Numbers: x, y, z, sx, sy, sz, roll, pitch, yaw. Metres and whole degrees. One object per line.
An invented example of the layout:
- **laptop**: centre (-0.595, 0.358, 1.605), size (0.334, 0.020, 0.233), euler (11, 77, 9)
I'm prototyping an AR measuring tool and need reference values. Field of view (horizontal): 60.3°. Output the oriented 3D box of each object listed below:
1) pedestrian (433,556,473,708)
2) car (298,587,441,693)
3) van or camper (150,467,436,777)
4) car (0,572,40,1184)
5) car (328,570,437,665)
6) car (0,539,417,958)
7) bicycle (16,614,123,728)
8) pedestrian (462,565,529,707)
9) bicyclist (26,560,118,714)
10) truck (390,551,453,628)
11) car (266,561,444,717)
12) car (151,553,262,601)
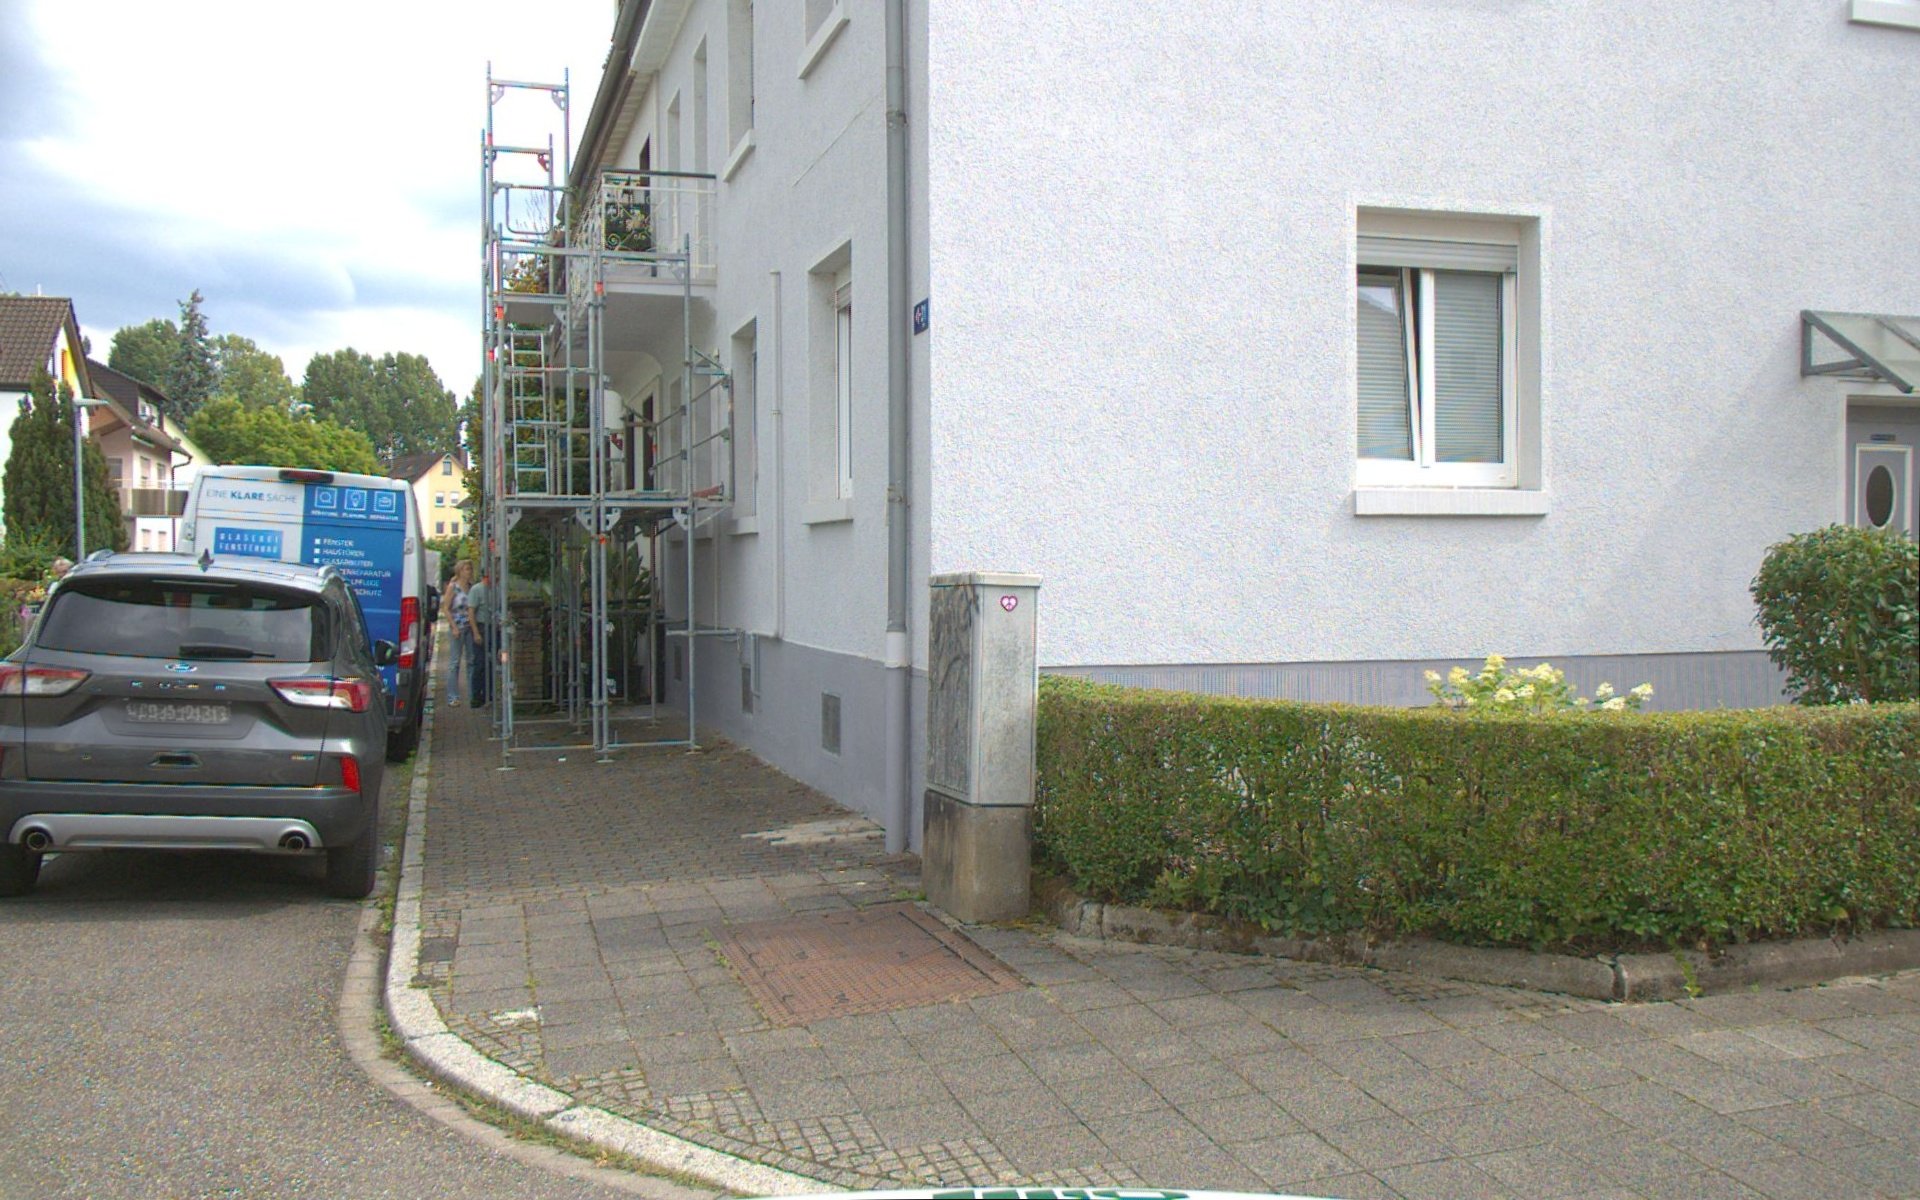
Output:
- **pedestrian**: centre (-6.111, 0.382, 19.934), size (0.402, 1.793, 0.510), euler (-1, -1, -21)
- **car**: centre (-9.451, 0.559, 26.518), size (1.964, 1.481, 4.317), euler (-1, 1, -20)
- **van or camper**: centre (-6.248, 0.119, 16.081), size (2.158, 2.502, 5.029), euler (-1, 1, -18)
- **car**: centre (-2.944, 0.699, 2.295), size (1.784, 1.546, 4.031), euler (0, 0, -12)
- **car**: centre (-11.842, 0.299, 33.917), size (1.964, 1.780, 4.317), euler (-1, 1, -20)
- **car**: centre (-4.134, 0.585, 9.240), size (1.964, 1.757, 4.317), euler (-1, 1, -20)
- **bicycle**: centre (-10.154, 0.783, 18.919), size (0.694, 1.172, 1.864), euler (-2, 1, -17)
- **pedestrian**: centre (-5.551, 0.428, 19.799), size (0.588, 1.658, 0.625), euler (-1, 0, 1)
- **bicyclist**: centre (-10.177, 0.406, 18.980), size (0.685, 1.695, 0.971), euler (-2, 1, -17)
- **truck**: centre (-19.728, -0.415, 60.475), size (2.098, 2.703, 4.559), euler (-1, 1, -19)
- **car**: centre (-7.906, 0.415, 21.724), size (1.964, 1.803, 4.317), euler (-1, 1, -20)
- **car**: centre (-29.968, -0.921, 65.906), size (3.932, 1.803, 1.857), euler (-1, 0, -23)
